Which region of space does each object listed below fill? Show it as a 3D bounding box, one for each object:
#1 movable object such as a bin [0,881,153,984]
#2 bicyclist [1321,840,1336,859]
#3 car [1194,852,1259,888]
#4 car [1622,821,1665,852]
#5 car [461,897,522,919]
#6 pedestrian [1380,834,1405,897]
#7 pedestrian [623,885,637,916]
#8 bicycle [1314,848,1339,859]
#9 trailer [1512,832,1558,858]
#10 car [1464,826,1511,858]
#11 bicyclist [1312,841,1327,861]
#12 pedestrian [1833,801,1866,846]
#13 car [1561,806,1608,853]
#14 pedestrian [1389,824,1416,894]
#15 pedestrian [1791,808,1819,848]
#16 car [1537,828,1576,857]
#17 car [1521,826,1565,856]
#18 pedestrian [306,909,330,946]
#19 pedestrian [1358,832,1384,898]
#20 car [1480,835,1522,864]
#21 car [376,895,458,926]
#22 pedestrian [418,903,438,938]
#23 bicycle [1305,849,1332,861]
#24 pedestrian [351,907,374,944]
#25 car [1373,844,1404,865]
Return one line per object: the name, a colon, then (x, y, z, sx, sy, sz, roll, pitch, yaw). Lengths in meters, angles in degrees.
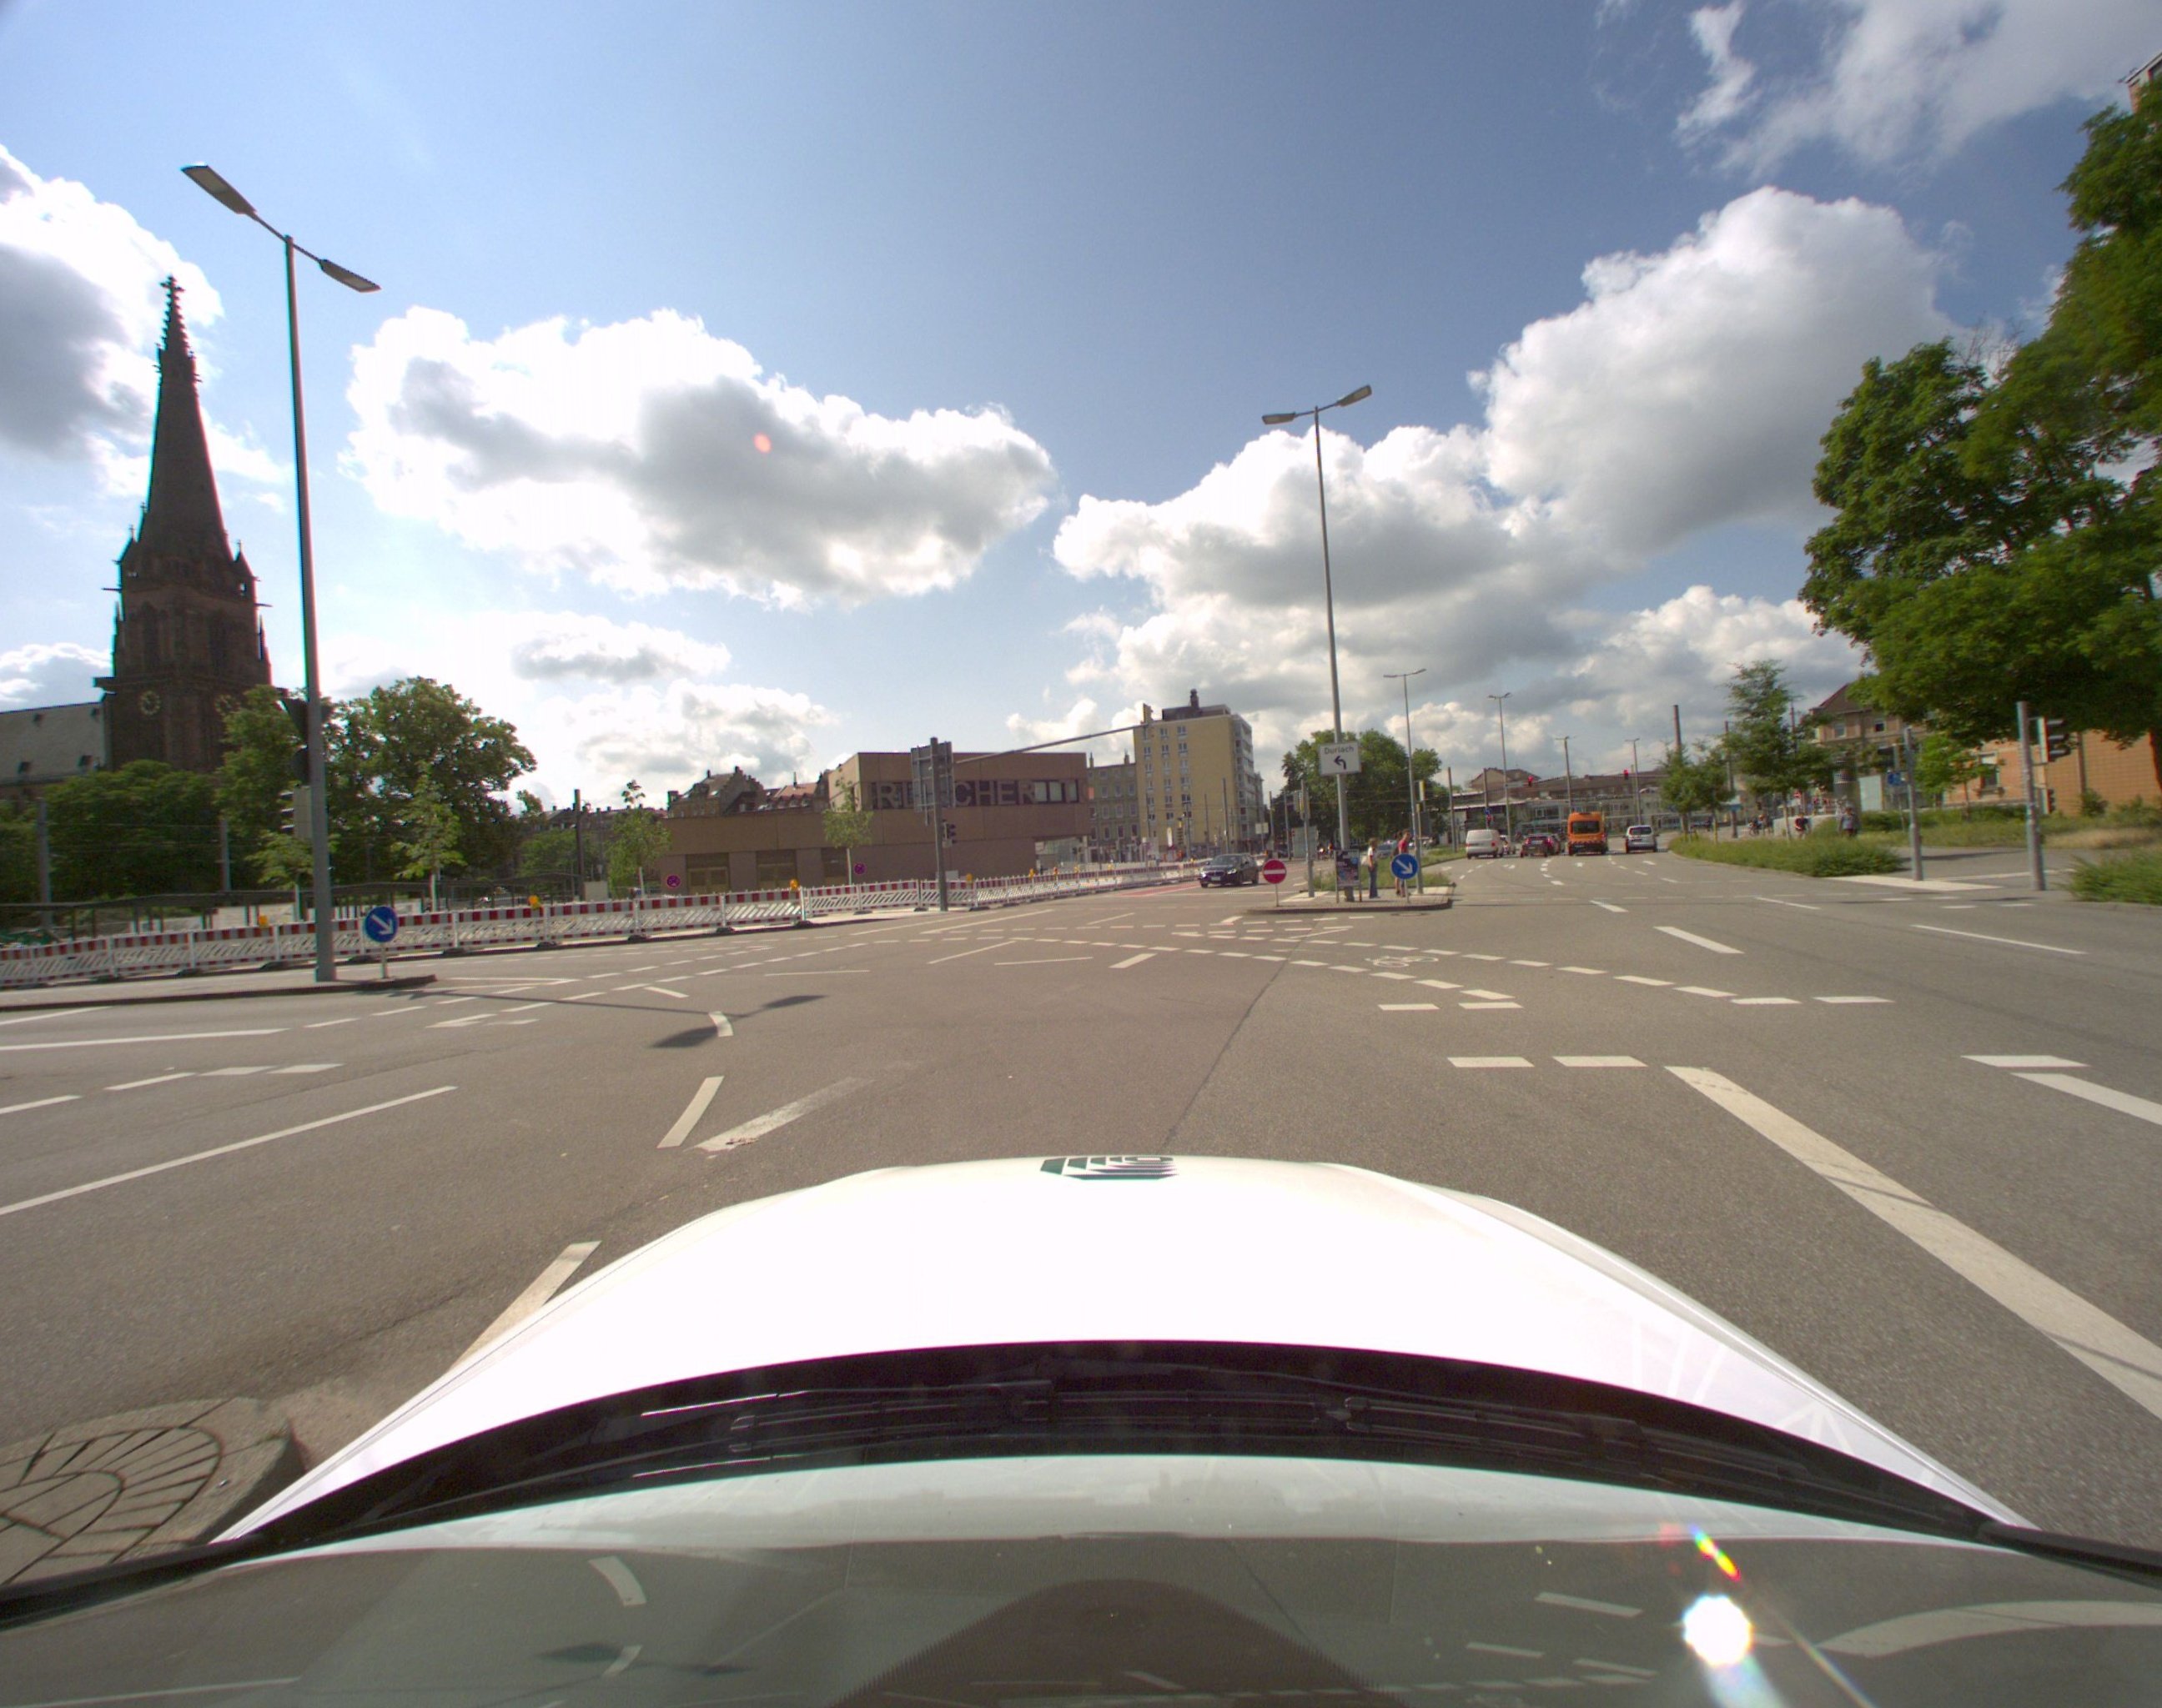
movable object such as a bin: (-33.053, 2.486, 24.970, 5.566, 2.885, 2.263, -3, -1, -35)
bicyclist: (26.268, -0.513, 86.300, 1.207, 1.909, 0.839, -4, -1, 32)
car: (6.599, 0.668, 36.513, 1.776, 1.388, 4.251, -3, -1, 25)
car: (36.413, -1.128, 52.671, 1.974, 1.795, 4.026, -5, -1, 37)
car: (-57.912, 5.297, 80.095, 4.370, 1.793, 1.772, -4, -1, -18)
pedestrian: (8.574, 0.313, 22.413, 0.520, 1.684, 0.627, -4, -1, 21)
pedestrian: (-30.120, 3.099, 54.431, 0.704, 2.013, 0.551, -3, -1, -26)
bicycle: (26.064, -0.070, 86.440, 2.355, 1.066, 0.848, -4, -1, 32)
trailer: (29.410, -0.595, 52.747, 1.974, 1.477, 4.026, -5, -1, 37)
car: (27.929, -0.863, 55.876, 1.986, 1.966, 4.669, -5, -1, 36)
bicyclist: (24.054, -0.321, 82.096, 1.207, 1.909, 0.864, -4, -1, 32)
pedestrian: (31.703, -1.268, 33.610, 0.780, 1.784, 0.671, -4, -1, 33)
car: (32.658, -1.605, 52.750, 2.109, 2.780, 4.669, -5, -1, 36)
pedestrian: (8.131, 0.126, 20.578, 0.520, 1.733, 0.627, -4, -1, 21)
pedestrian: (33.185, -1.188, 37.327, 0.780, 1.784, 0.671, -4, -1, 35)
car: (35.792, -0.907, 61.267, 1.972, 1.938, 4.669, -5, -1, 36)
car: (31.530, -0.915, 55.543, 1.974, 1.826, 4.026, -5, -1, 37)
pedestrian: (-43.592, 4.205, 46.536, 0.752, 2.013, 0.755, -3, -1, -30)
pedestrian: (7.769, 0.293, 21.788, 0.520, 1.733, 0.627, -4, -1, 21)
car: (31.495, -0.367, 60.989, 1.972, 1.938, 4.669, -5, -1, 36)
car: (-47.731, 4.033, 58.663, 4.190, 1.882, 1.787, -3, -1, -27)
pedestrian: (-39.900, 4.045, 49.744, 0.765, 2.013, 0.743, -3, -1, -29)
bicycle: (23.941, 0.109, 82.173, 2.355, 1.066, 0.864, -4, -1, 32)
pedestrian: (-41.531, 4.112, 47.101, 0.765, 2.013, 0.743, -3, -1, -29)
car: (23.607, -0.001, 62.409, 1.646, 1.480, 4.087, -1, 1, 29)
